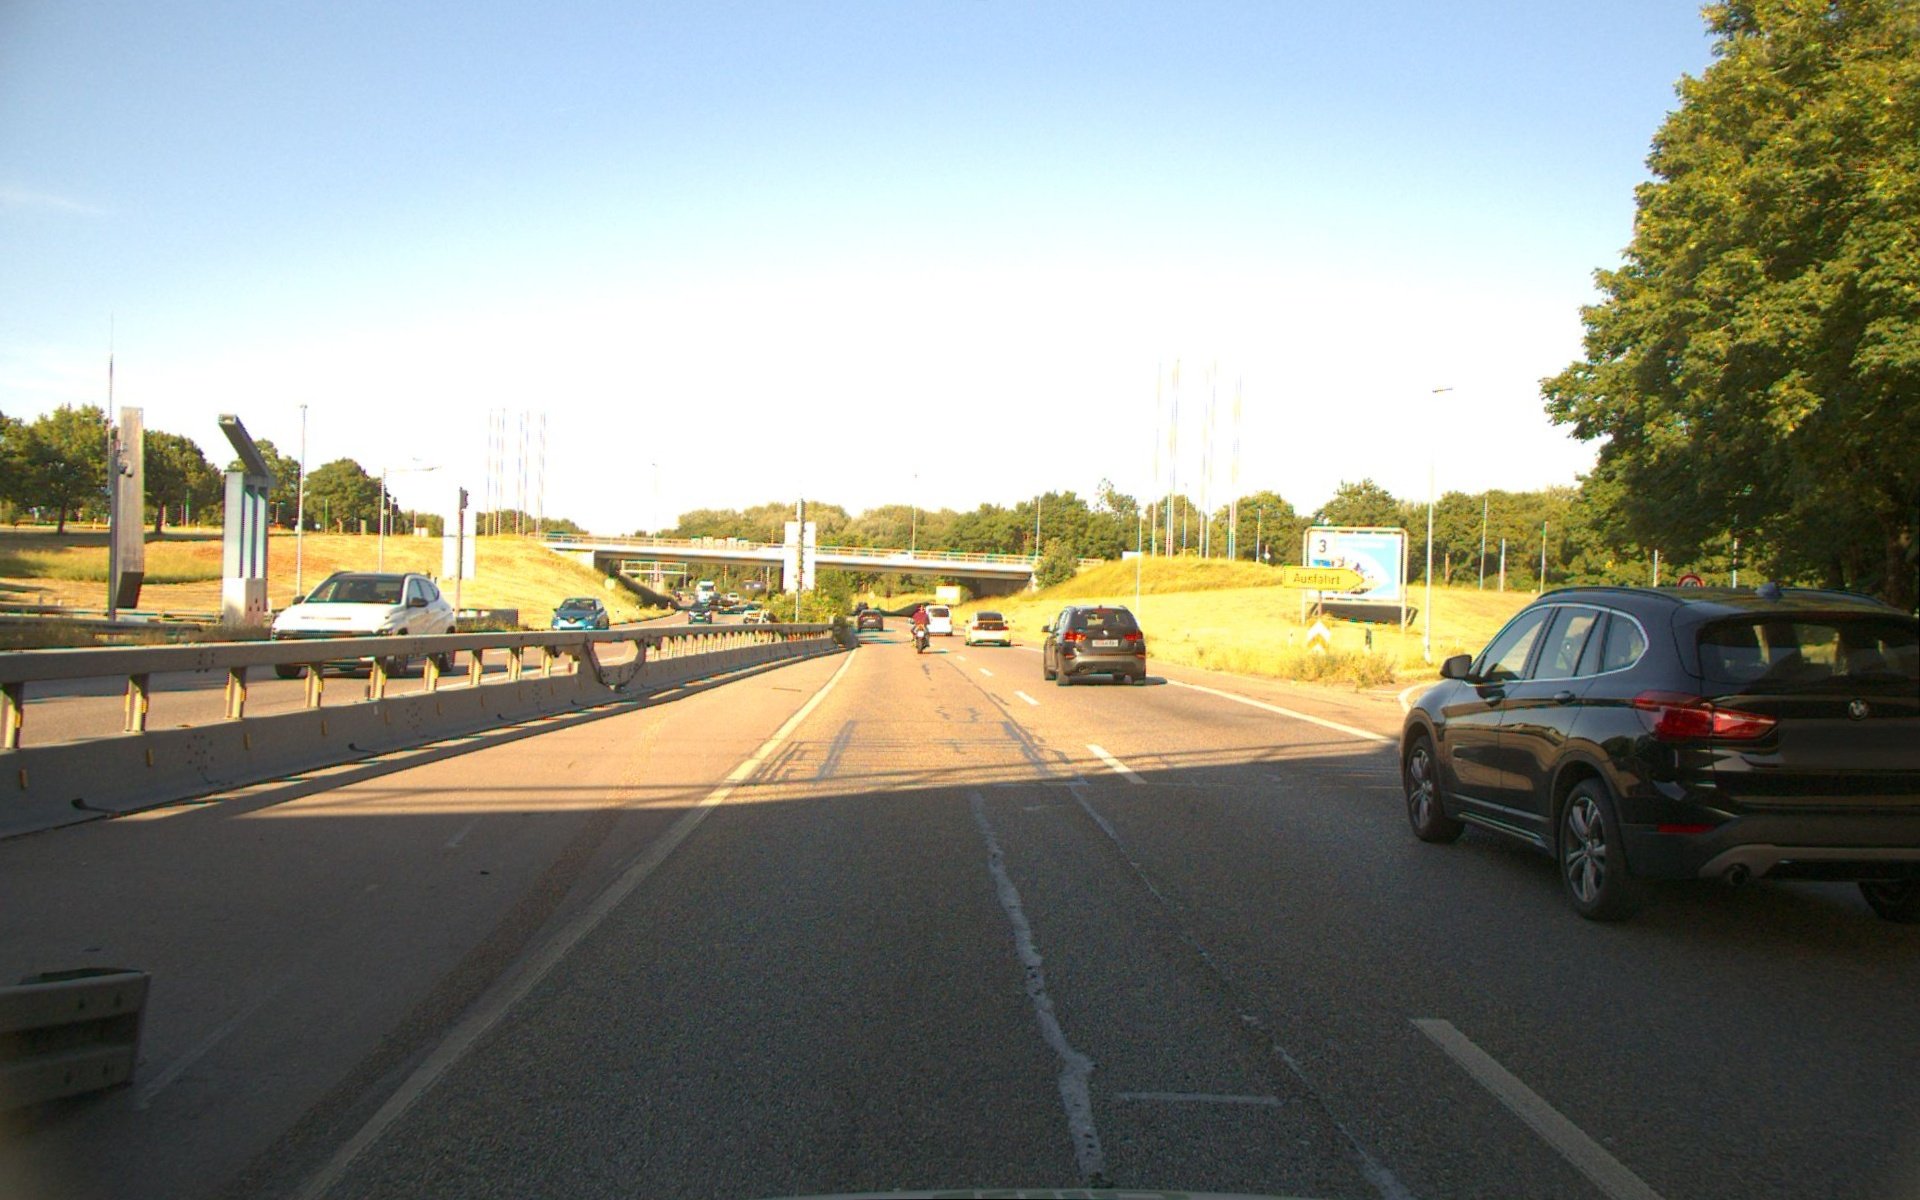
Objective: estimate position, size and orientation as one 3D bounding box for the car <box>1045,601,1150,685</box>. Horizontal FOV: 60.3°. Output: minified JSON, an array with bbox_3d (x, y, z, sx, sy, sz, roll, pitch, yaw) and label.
[{"bbox_3d":[2.721,0.892,33.613,1.664,1.533,4.577,-1,-2,-1],"label":"car"}]

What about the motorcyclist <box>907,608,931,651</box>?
[{"bbox_3d":[-1.419,1.015,57.784,0.800,1.472,1.093,1,0,0],"label":"motorcyclist"}]

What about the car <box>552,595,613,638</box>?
[{"bbox_3d":[-14.700,0.622,64.576,1.639,1.600,4.318,1,0,-3],"label":"car"}]

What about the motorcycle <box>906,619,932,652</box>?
[{"bbox_3d":[-1.424,1.242,57.886,0.800,1.088,2.836,1,0,0],"label":"motorcycle"}]

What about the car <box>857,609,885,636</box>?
[{"bbox_3d":[-6.213,1.536,115.593,1.859,1.798,3.998,1,0,-2],"label":"car"}]

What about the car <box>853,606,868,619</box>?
[{"bbox_3d":[-13.369,1.663,221.771,1.831,1.714,3.998,2,-1,-2],"label":"car"}]

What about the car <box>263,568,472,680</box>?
[{"bbox_3d":[-9.191,0.357,26.064,1.751,1.606,4.531,0,0,-2],"label":"car"}]

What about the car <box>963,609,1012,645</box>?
[{"bbox_3d":[1.165,1.154,72.205,1.859,1.496,3.997,0,1,-4],"label":"car"}]

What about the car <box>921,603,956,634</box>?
[{"bbox_3d":[-1.299,1.094,98.353,1.860,1.798,3.996,0,0,-4],"label":"car"}]

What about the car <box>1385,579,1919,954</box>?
[{"bbox_3d":[3.881,0.718,9.369,1.719,1.600,4.520,1,0,-1],"label":"car"}]

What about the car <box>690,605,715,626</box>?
[{"bbox_3d":[-18.909,1.119,121.659,1.578,1.511,3.389,1,0,-5],"label":"car"}]

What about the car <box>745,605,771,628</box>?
[{"bbox_3d":[-14.251,1.171,116.854,1.682,1.602,4.159,1,0,-5],"label":"car"}]
